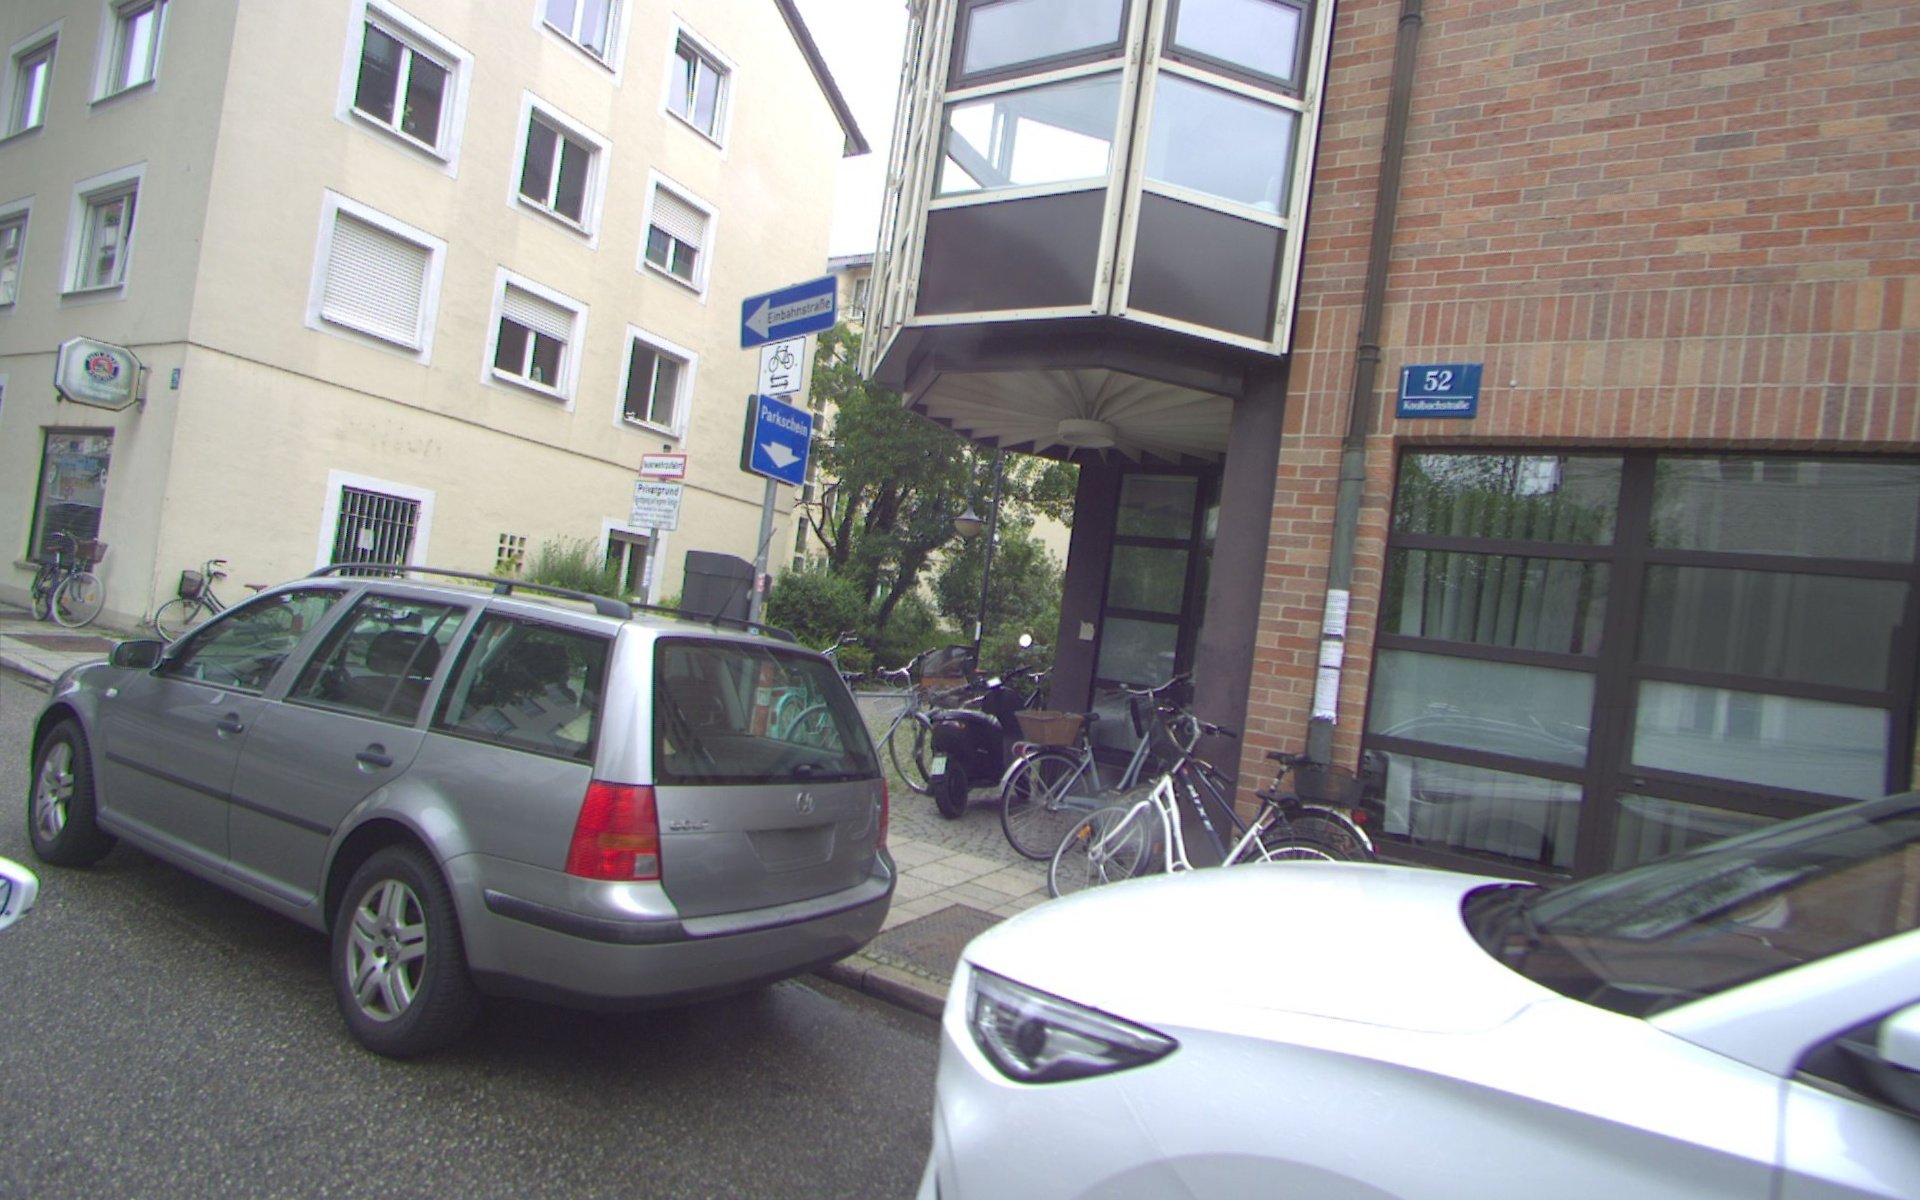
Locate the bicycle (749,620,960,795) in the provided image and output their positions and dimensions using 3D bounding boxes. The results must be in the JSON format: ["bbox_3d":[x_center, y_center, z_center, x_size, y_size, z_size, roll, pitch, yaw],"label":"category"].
[{"bbox_3d":[-0.838,0.857,8.171,1.523,1.172,0.380,8,-1,3],"label":"bicycle"}]

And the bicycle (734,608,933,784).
[{"bbox_3d":[-1.092,0.825,8.791,1.523,1.291,0.380,8,-1,3],"label":"bicycle"}]

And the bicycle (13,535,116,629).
[{"bbox_3d":[-11.577,-0.244,12.995,1.677,1.038,0.475,6,0,32],"label":"bicycle"}]

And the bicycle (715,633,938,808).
[{"bbox_3d":[-1.007,0.911,7.754,1.523,1.091,0.380,8,-2,3],"label":"bicycle"}]

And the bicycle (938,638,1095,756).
[{"bbox_3d":[0.724,1.216,12.722,1.794,1.204,0.506,8,-2,10],"label":"bicycle"}]

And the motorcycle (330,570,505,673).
[{"bbox_3d":[-7.454,0.301,13.910,1.896,1.120,0.622,9,-2,-11],"label":"motorcycle"}]

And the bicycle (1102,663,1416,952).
[{"bbox_3d":[1.652,1.097,5.687,1.527,1.291,0.379,6,-1,32],"label":"bicycle"}]

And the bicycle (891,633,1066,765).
[{"bbox_3d":[0.224,1.108,11.449,1.794,1.204,0.506,8,-2,10],"label":"bicycle"}]

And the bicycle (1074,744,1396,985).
[{"bbox_3d":[1.419,1.331,5.328,1.517,0.884,0.385,6,-1,32],"label":"bicycle"}]

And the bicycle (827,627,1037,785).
[{"bbox_3d":[-0.257,0.986,9.570,1.794,1.204,0.506,8,-2,10],"label":"bicycle"}]

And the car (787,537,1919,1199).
[{"bbox_3d":[1.941,1.002,1.516,4.125,1.649,1.753,7,-2,29],"label":"car"}]

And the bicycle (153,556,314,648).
[{"bbox_3d":[-9.231,0.047,12.845,0.468,1.038,1.538,7,0,29],"label":"bicycle"}]

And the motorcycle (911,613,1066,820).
[{"bbox_3d":[0.264,0.886,7.918,0.465,1.437,1.474,7,0,28],"label":"motorcycle"}]

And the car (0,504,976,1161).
[{"bbox_3d":[-2.142,0.586,4.293,3.932,1.461,1.749,7,-3,30],"label":"car"}]

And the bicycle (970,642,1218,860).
[{"bbox_3d":[0.918,1.013,6.635,1.628,1.291,0.376,8,-1,-32],"label":"bicycle"}]

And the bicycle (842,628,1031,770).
[{"bbox_3d":[-0.237,1.025,10.607,1.794,1.204,0.506,8,-2,10],"label":"bicycle"}]
